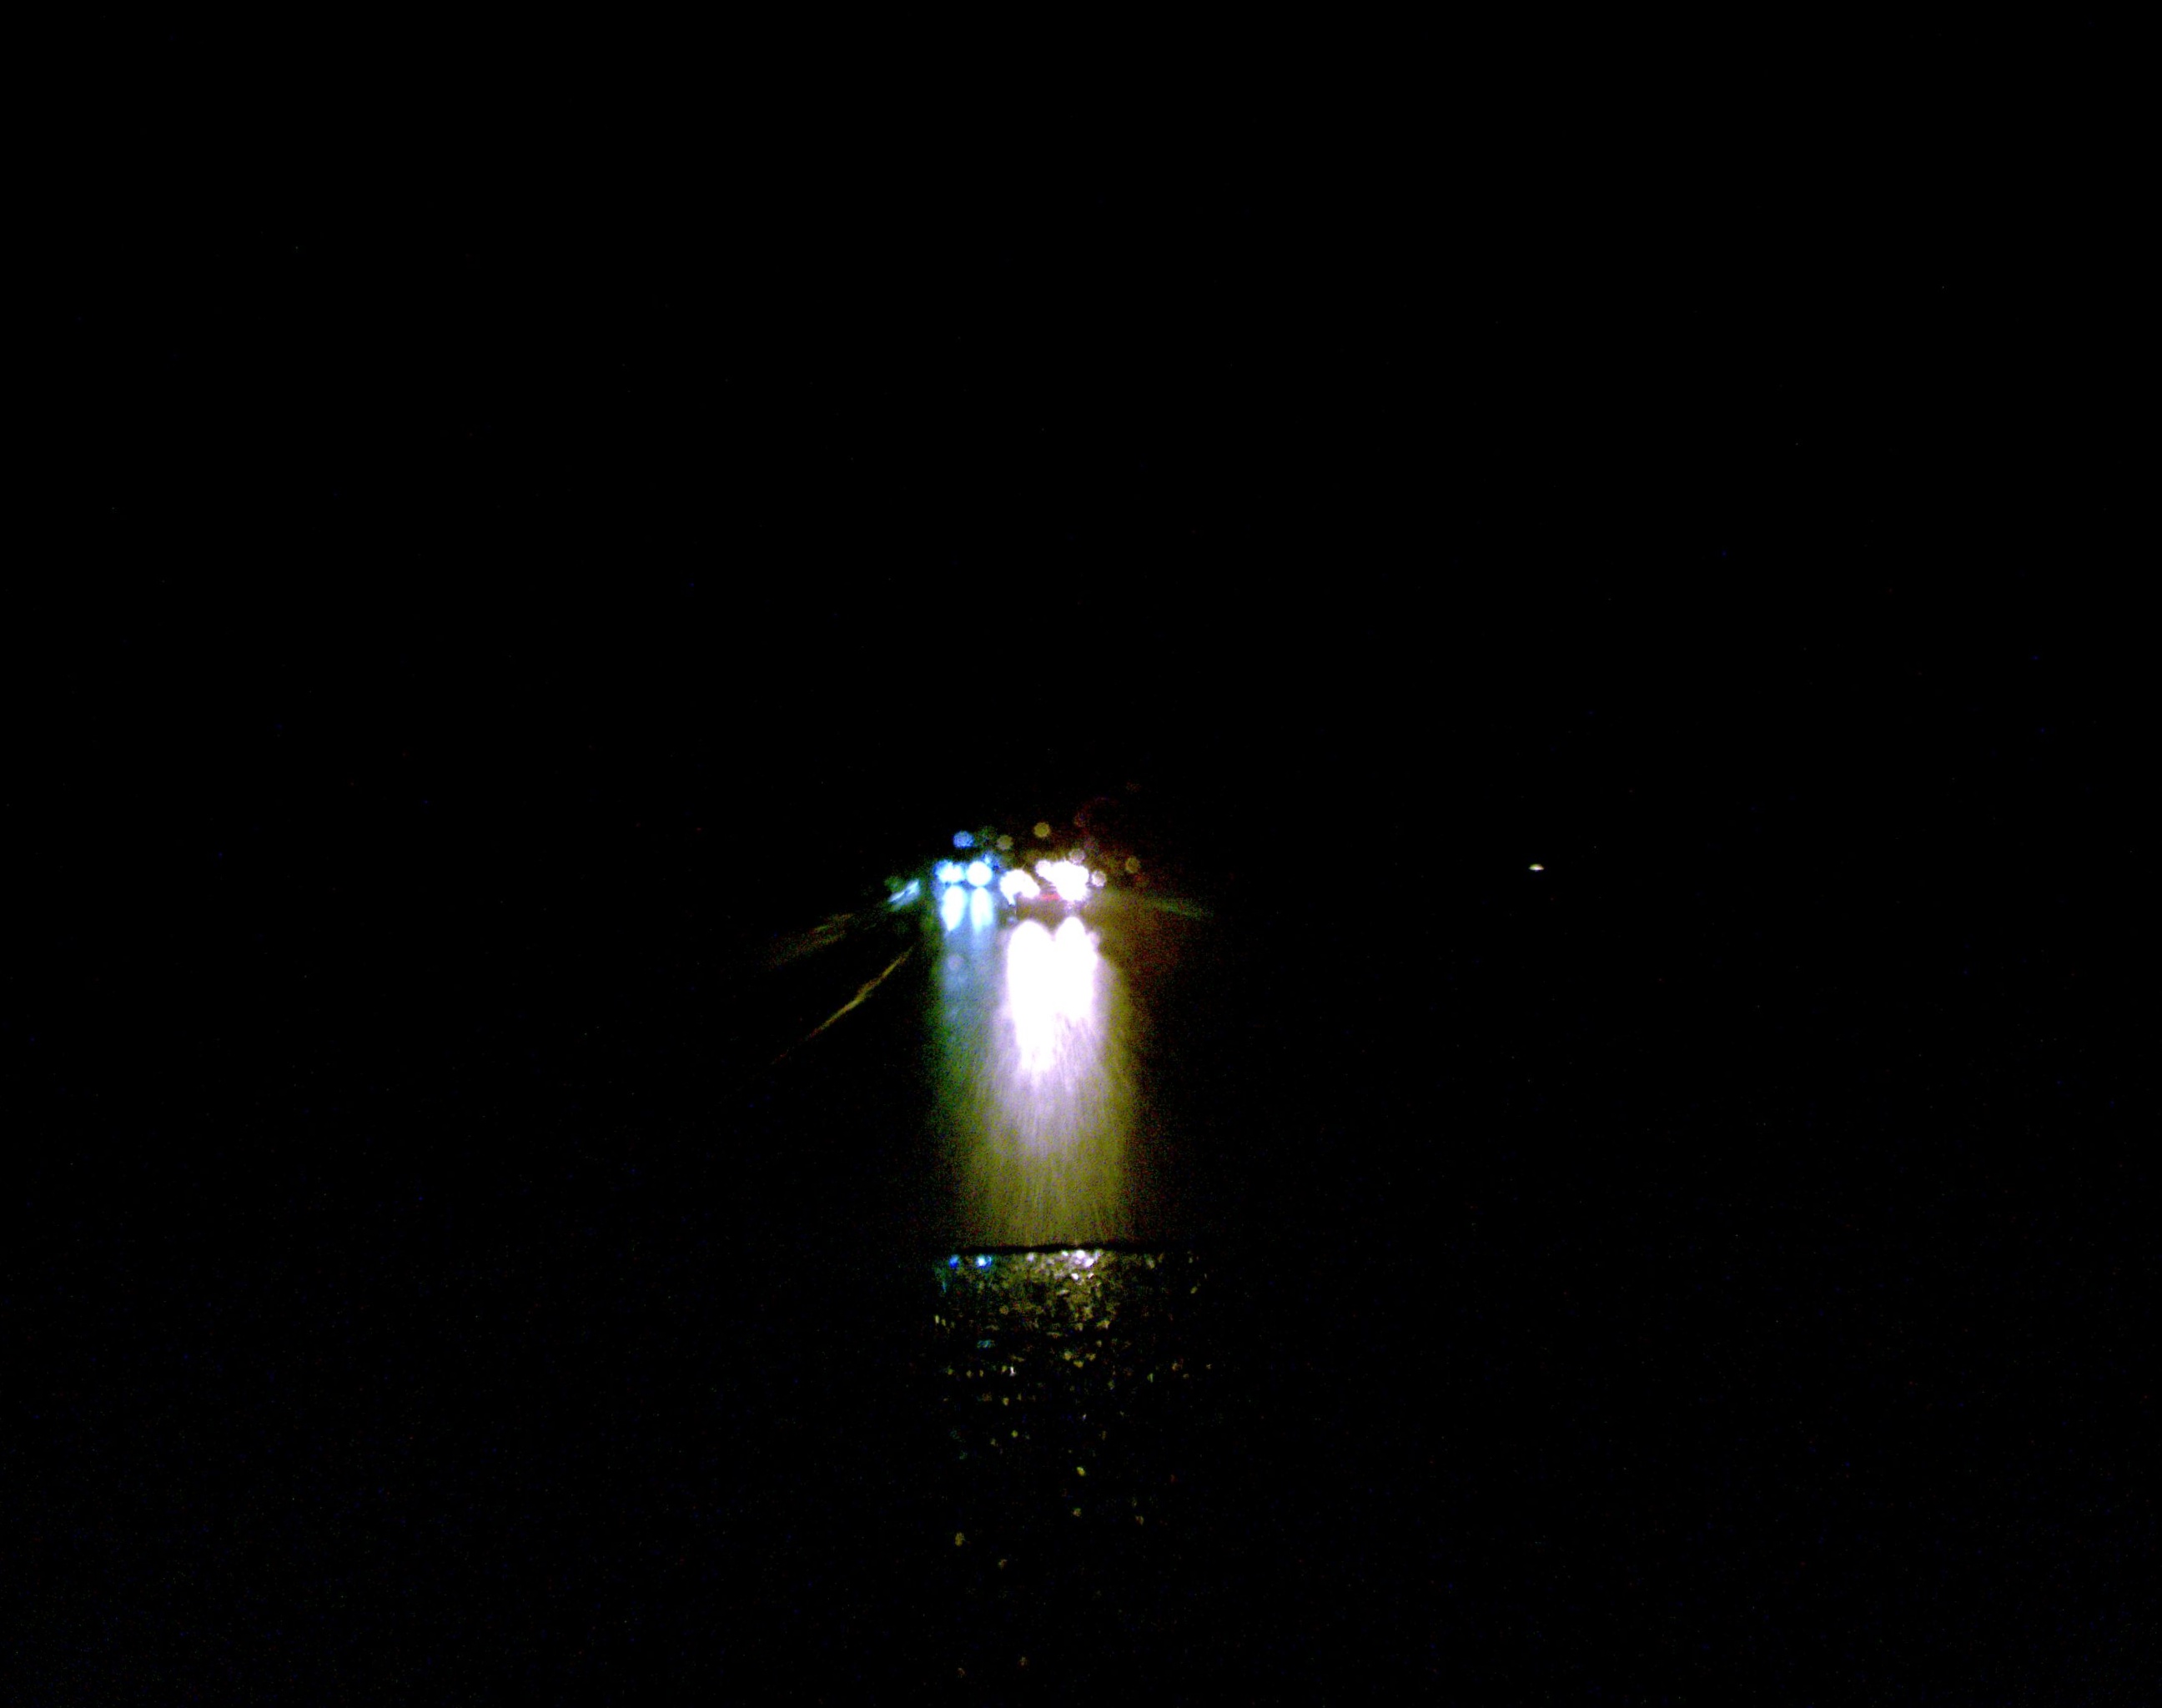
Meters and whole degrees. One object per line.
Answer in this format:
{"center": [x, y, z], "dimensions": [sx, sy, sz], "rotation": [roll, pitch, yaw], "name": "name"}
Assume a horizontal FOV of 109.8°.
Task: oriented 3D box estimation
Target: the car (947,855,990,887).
{"center": [-6.046, 0.864, 40.467], "dimensions": [1.851, 1.441, 3.870], "rotation": [-3, 1, -13], "name": "car"}

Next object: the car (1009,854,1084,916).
{"center": [-1.062, 0.807, 21.564], "dimensions": [1.850, 1.441, 3.997], "rotation": [-2, 1, -5], "name": "car"}
